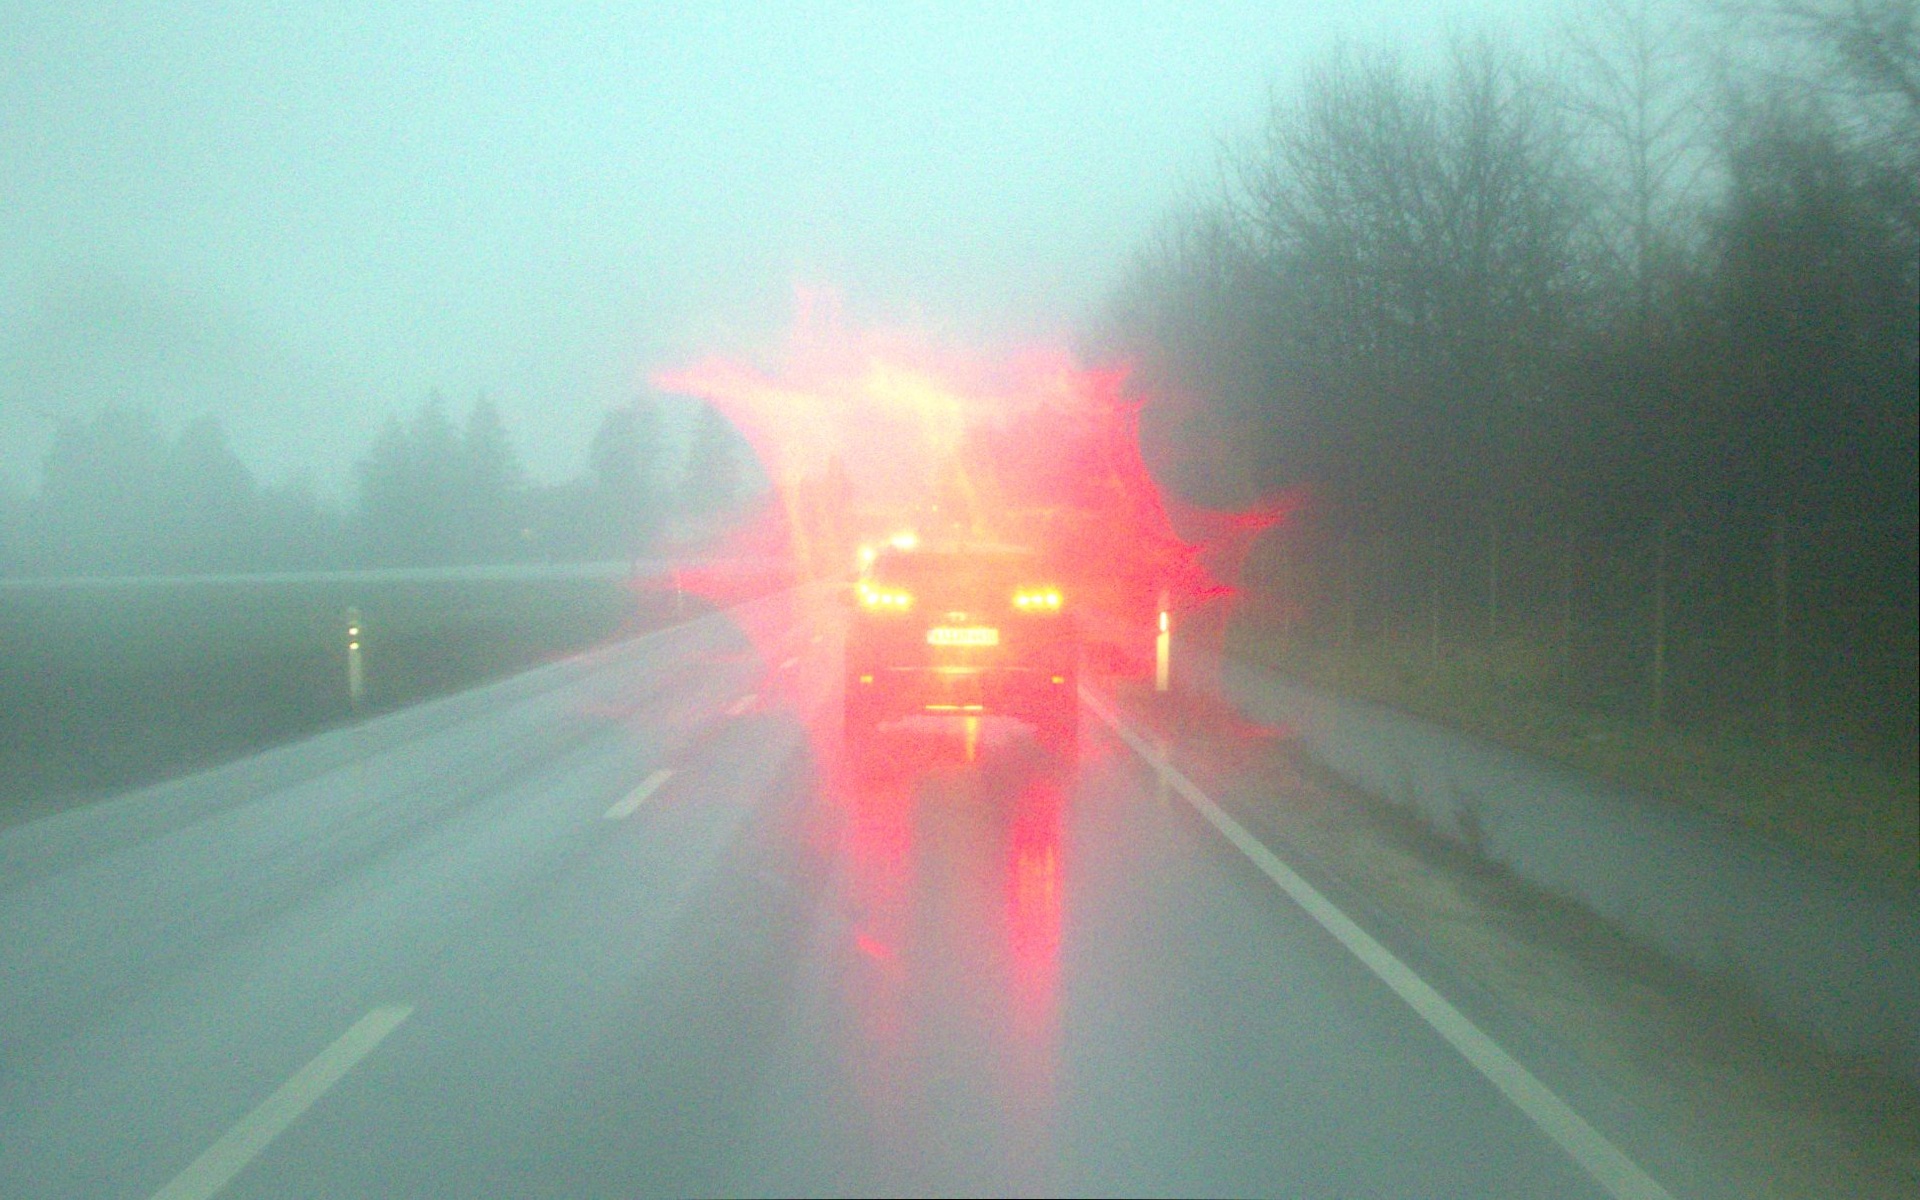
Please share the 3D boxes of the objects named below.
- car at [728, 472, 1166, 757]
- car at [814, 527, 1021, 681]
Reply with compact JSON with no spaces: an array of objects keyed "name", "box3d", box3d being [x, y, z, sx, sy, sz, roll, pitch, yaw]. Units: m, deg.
[{"name":"car","box3d":[-0.115,0.035,28.502,3.164,2.028,6.852,-1,1,0]},{"name":"car","box3d":[-0.590,-0.010,49.636,2.756,2.028,6.591,-1,1,0]}]
